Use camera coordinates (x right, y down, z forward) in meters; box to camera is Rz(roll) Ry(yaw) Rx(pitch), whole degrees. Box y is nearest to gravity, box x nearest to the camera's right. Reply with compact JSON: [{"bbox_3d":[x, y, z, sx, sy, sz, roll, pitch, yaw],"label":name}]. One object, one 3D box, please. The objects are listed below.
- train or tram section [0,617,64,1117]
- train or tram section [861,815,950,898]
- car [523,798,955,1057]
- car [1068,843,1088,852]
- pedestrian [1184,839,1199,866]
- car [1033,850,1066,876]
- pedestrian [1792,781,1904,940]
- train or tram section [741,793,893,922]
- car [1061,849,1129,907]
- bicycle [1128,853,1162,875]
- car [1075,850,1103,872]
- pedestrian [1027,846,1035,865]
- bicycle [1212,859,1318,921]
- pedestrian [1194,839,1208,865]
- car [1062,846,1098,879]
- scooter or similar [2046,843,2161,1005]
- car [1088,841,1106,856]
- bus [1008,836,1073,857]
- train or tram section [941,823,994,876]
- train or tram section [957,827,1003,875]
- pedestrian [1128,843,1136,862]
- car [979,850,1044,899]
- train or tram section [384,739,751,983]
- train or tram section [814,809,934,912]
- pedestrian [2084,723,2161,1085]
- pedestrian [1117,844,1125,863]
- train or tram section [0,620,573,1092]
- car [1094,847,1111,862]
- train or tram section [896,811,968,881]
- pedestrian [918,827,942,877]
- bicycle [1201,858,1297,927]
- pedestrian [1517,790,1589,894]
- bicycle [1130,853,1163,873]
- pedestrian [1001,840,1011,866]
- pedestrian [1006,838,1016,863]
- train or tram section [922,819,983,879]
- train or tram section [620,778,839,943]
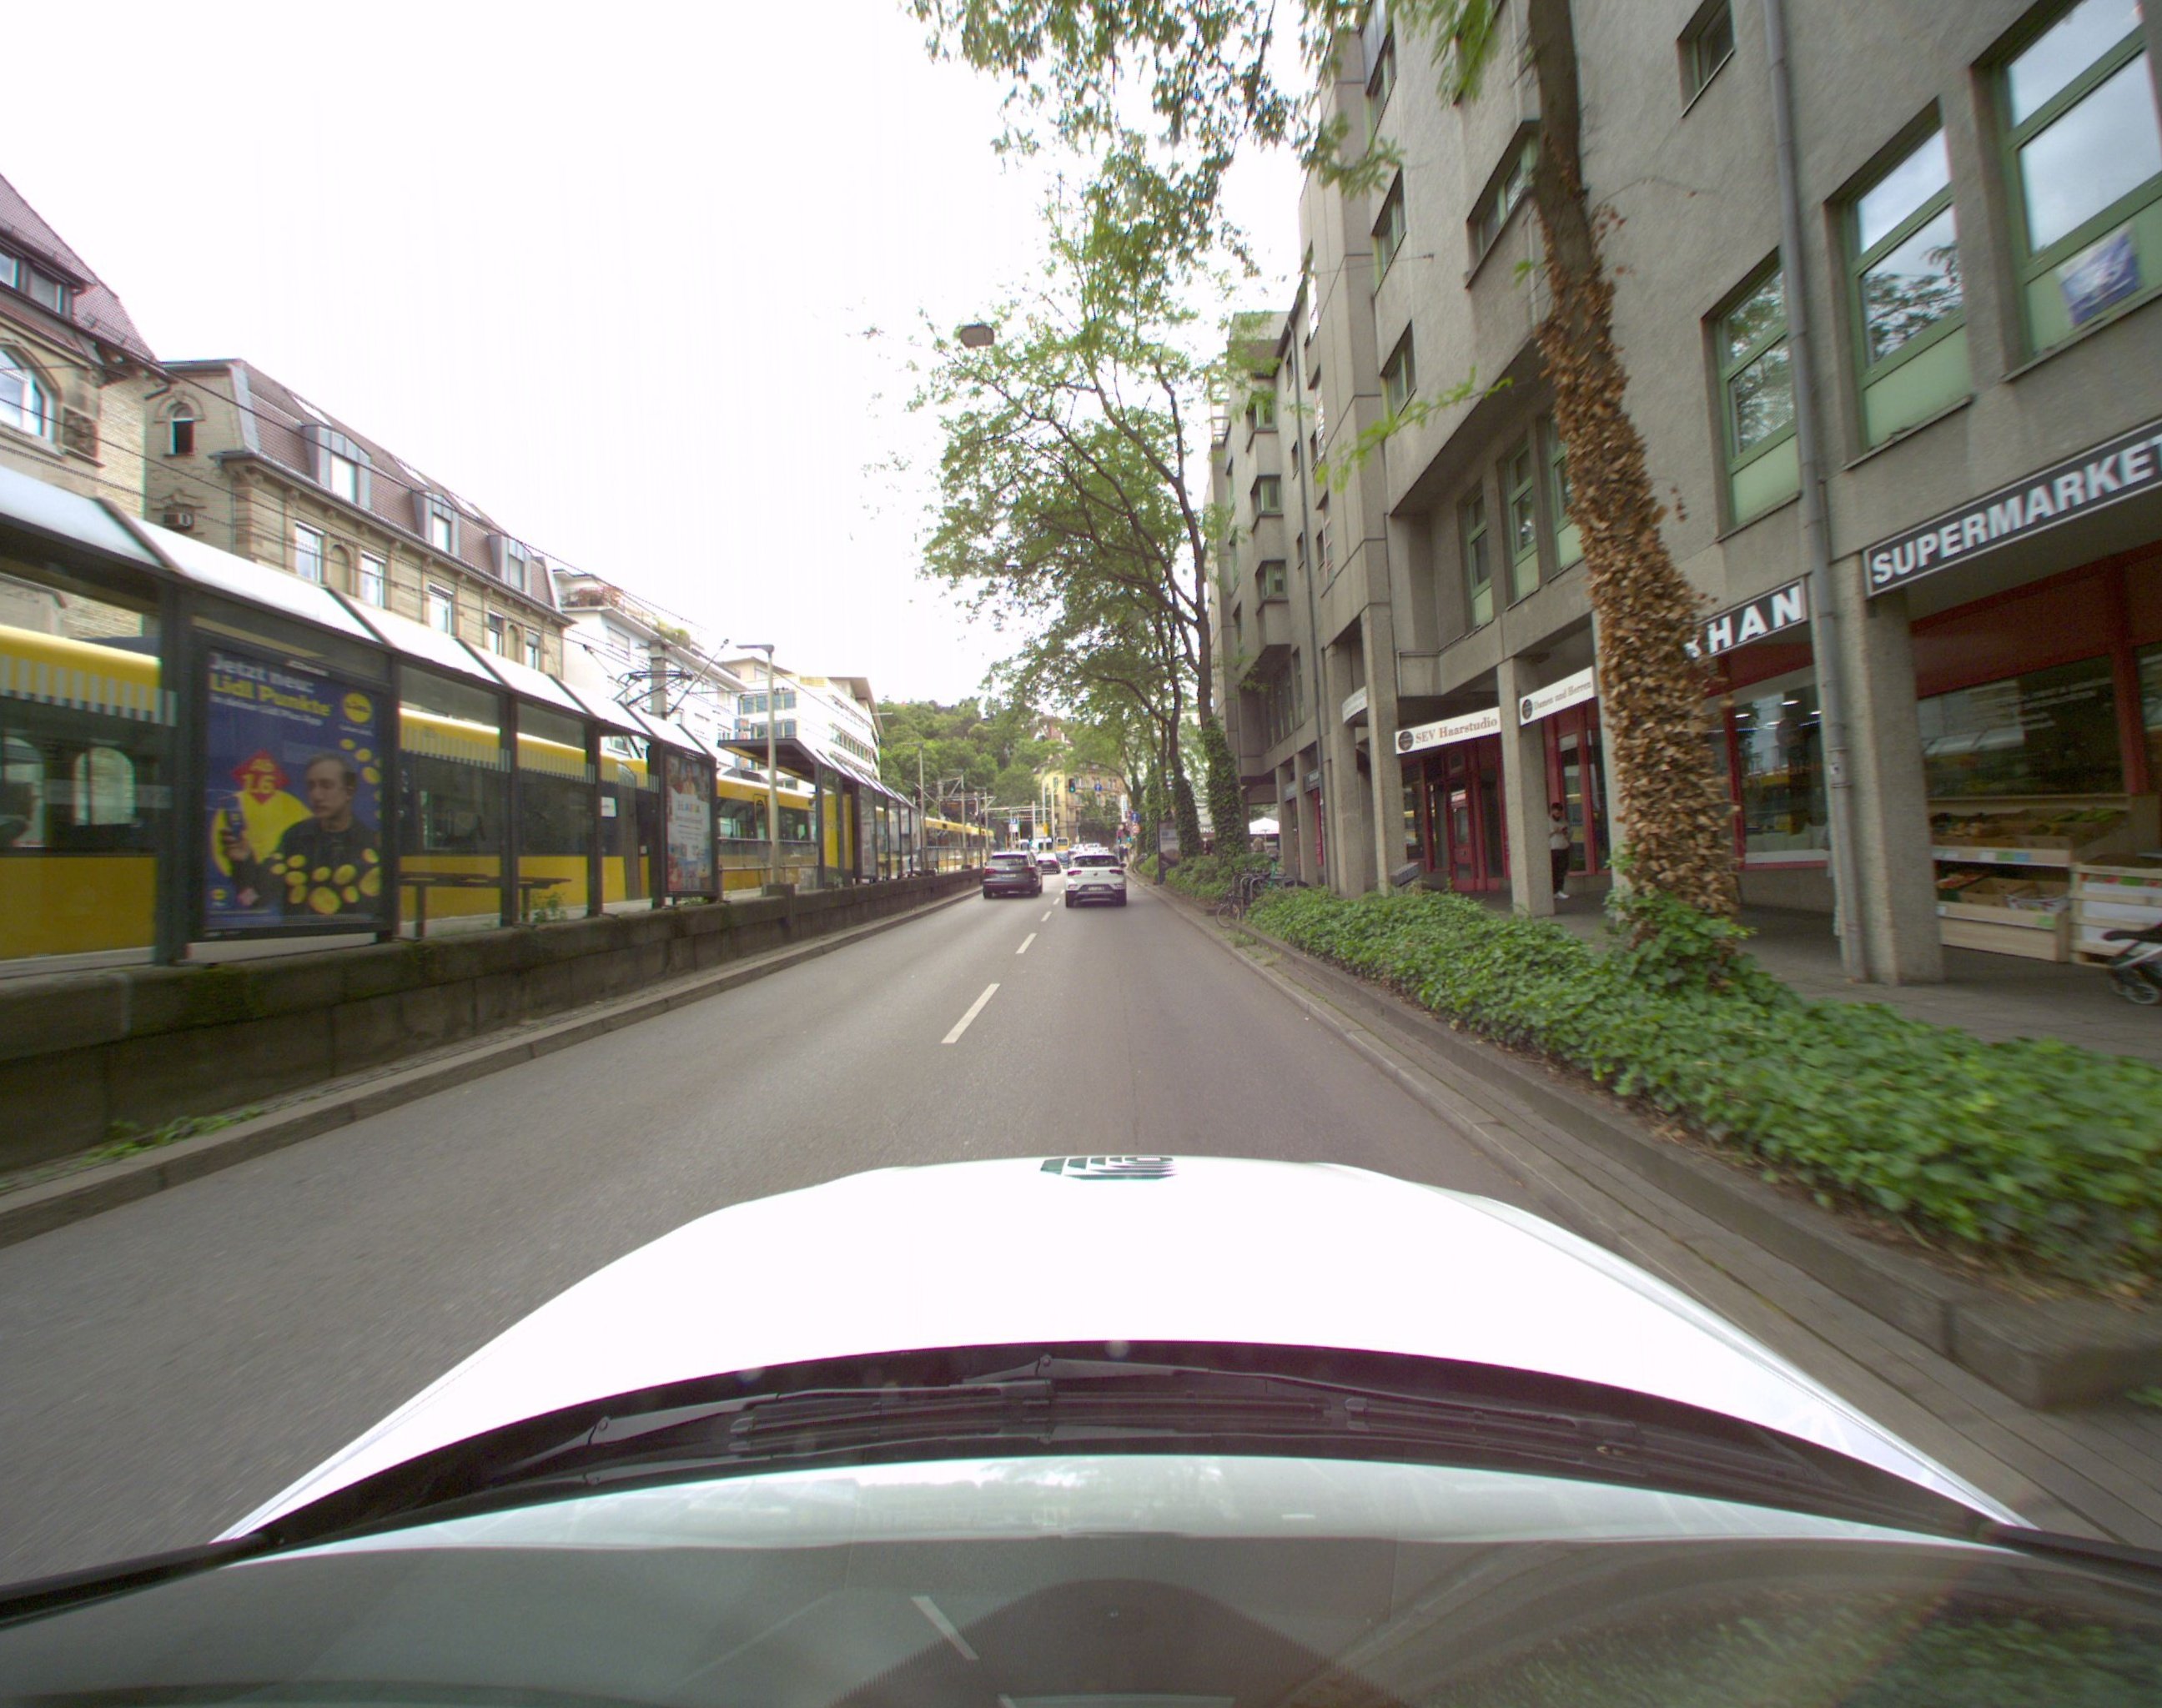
[{"bbox_3d":[-9.100,0.092,3.226,2.824,3.521,5.754,-1,-1,2],"label":"train or tram section"},{"bbox_3d":[-8.438,0.128,40.046,2.804,3.666,6.751,-1,-1,0],"label":"train or tram section"},{"bbox_3d":[-3.124,0.649,9.025,2.355,2.014,5.152,-1,-1,3],"label":"car"},{"bbox_3d":[-0.636,-1.266,156.710,1.893,1.689,4.026,0,0,35],"label":"car"},{"bbox_3d":[6.719,-0.111,49.471,0.638,1.615,0.584,0,-2,-19],"label":"pedestrian"},{"bbox_3d":[-2.167,0.581,56.936,1.904,1.689,4.004,-1,0,3],"label":"car"},{"bbox_3d":[8.184,0.064,8.724,0.769,1.612,0.622,-3,2,38],"label":"pedestrian"},{"bbox_3d":[-8.273,0.127,26.362,2.802,3.666,5.905,-1,-1,2],"label":"train or tram section"},{"bbox_3d":[0.435,0.686,24.727,1.831,1.584,4.157,-2,-1,1],"label":"car"},{"bbox_3d":[3.717,0.576,47.074,1.868,1.266,0.767,-1,-2,12],"label":"bicycle"},{"bbox_3d":[0.608,0.604,66.745,1.882,1.684,4.153,-1,-1,-5],"label":"car"},{"bbox_3d":[-5.459,0.152,88.474,0.759,2.014,0.838,-1,-2,2],"label":"pedestrian"},{"bbox_3d":[3.668,0.713,16.305,1.911,1.076,0.613,-4,-1,-2],"label":"bicycle"},{"bbox_3d":[7.340,-0.119,49.696,0.638,1.608,0.584,0,-2,-19],"label":"pedestrian"},{"bbox_3d":[0.006,0.505,45.271,1.878,1.684,4.161,-1,-1,1],"label":"car"},{"bbox_3d":[7.790,0.486,5.923,0.847,1.110,0.769,-5,-2,43],"label":"scooter or similar"},{"bbox_3d":[2.356,-0.849,120.241,2.354,2.014,5.154,-1,-1,5],"label":"car"},{"bbox_3d":[-6.950,-1.163,136.547,3.400,3.065,13.166,0,-2,-41],"label":"bus"},{"bbox_3d":[-8.305,-0.259,60.358,2.804,3.666,6.751,-1,-1,0],"label":"train or tram section"},{"bbox_3d":[-8.253,-0.200,67.131,2.804,3.666,6.751,-1,-1,0],"label":"train or tram section"},{"bbox_3d":[5.308,-0.144,84.231,0.758,2.014,0.840,-1,-2,6],"label":"pedestrian"},{"bbox_3d":[-2.480,0.705,30.031,1.987,1.636,4.000,-2,0,1],"label":"car"},{"bbox_3d":[-8.677,0.122,14.763,2.824,3.521,5.754,-1,-1,2],"label":"train or tram section"},{"bbox_3d":[-8.064,0.273,32.691,2.802,3.666,6.754,-1,-1,2],"label":"train or tram section"},{"bbox_3d":[5.674,0.228,3.836,0.760,1.783,0.847,-4,0,-4],"label":"pedestrian"},{"bbox_3d":[4.311,-0.009,87.623,0.758,2.014,0.840,-1,-2,6],"label":"pedestrian"},{"bbox_3d":[-8.902,0.052,8.982,2.824,3.521,5.754,-1,-1,2],"label":"train or tram section"},{"bbox_3d":[2.719,0.062,102.443,1.876,1.684,4.165,-1,-1,4],"label":"car"},{"bbox_3d":[-8.406,-0.402,46.821,2.804,3.666,6.751,-1,-1,0],"label":"train or tram section"},{"bbox_3d":[-5.519,-0.067,29.821,0.624,1.762,0.847,-3,0,1],"label":"pedestrian"},{"bbox_3d":[3.093,0.705,15.094,1.612,1.128,0.614,-4,-1,4],"label":"bicycle"},{"bbox_3d":[8.649,-0.221,14.940,0.828,1.803,0.724,-4,1,4],"label":"pedestrian"},{"bbox_3d":[3.925,0.552,48.564,1.871,1.137,0.809,-1,-2,7],"label":"bicycle"},{"bbox_3d":[-5.748,-0.086,62.668,0.761,2.014,0.836,-1,-2,-6],"label":"pedestrian"},{"bbox_3d":[-5.736,-0.311,66.908,0.761,2.014,0.836,-1,-2,-6],"label":"pedestrian"},{"bbox_3d":[-8.345,-0.287,53.597,2.804,3.666,6.751,-1,-1,0],"label":"train or tram section"},{"bbox_3d":[-8.475,0.162,20.522,2.824,3.521,5.754,-1,-1,2],"label":"train or tram section"}]
